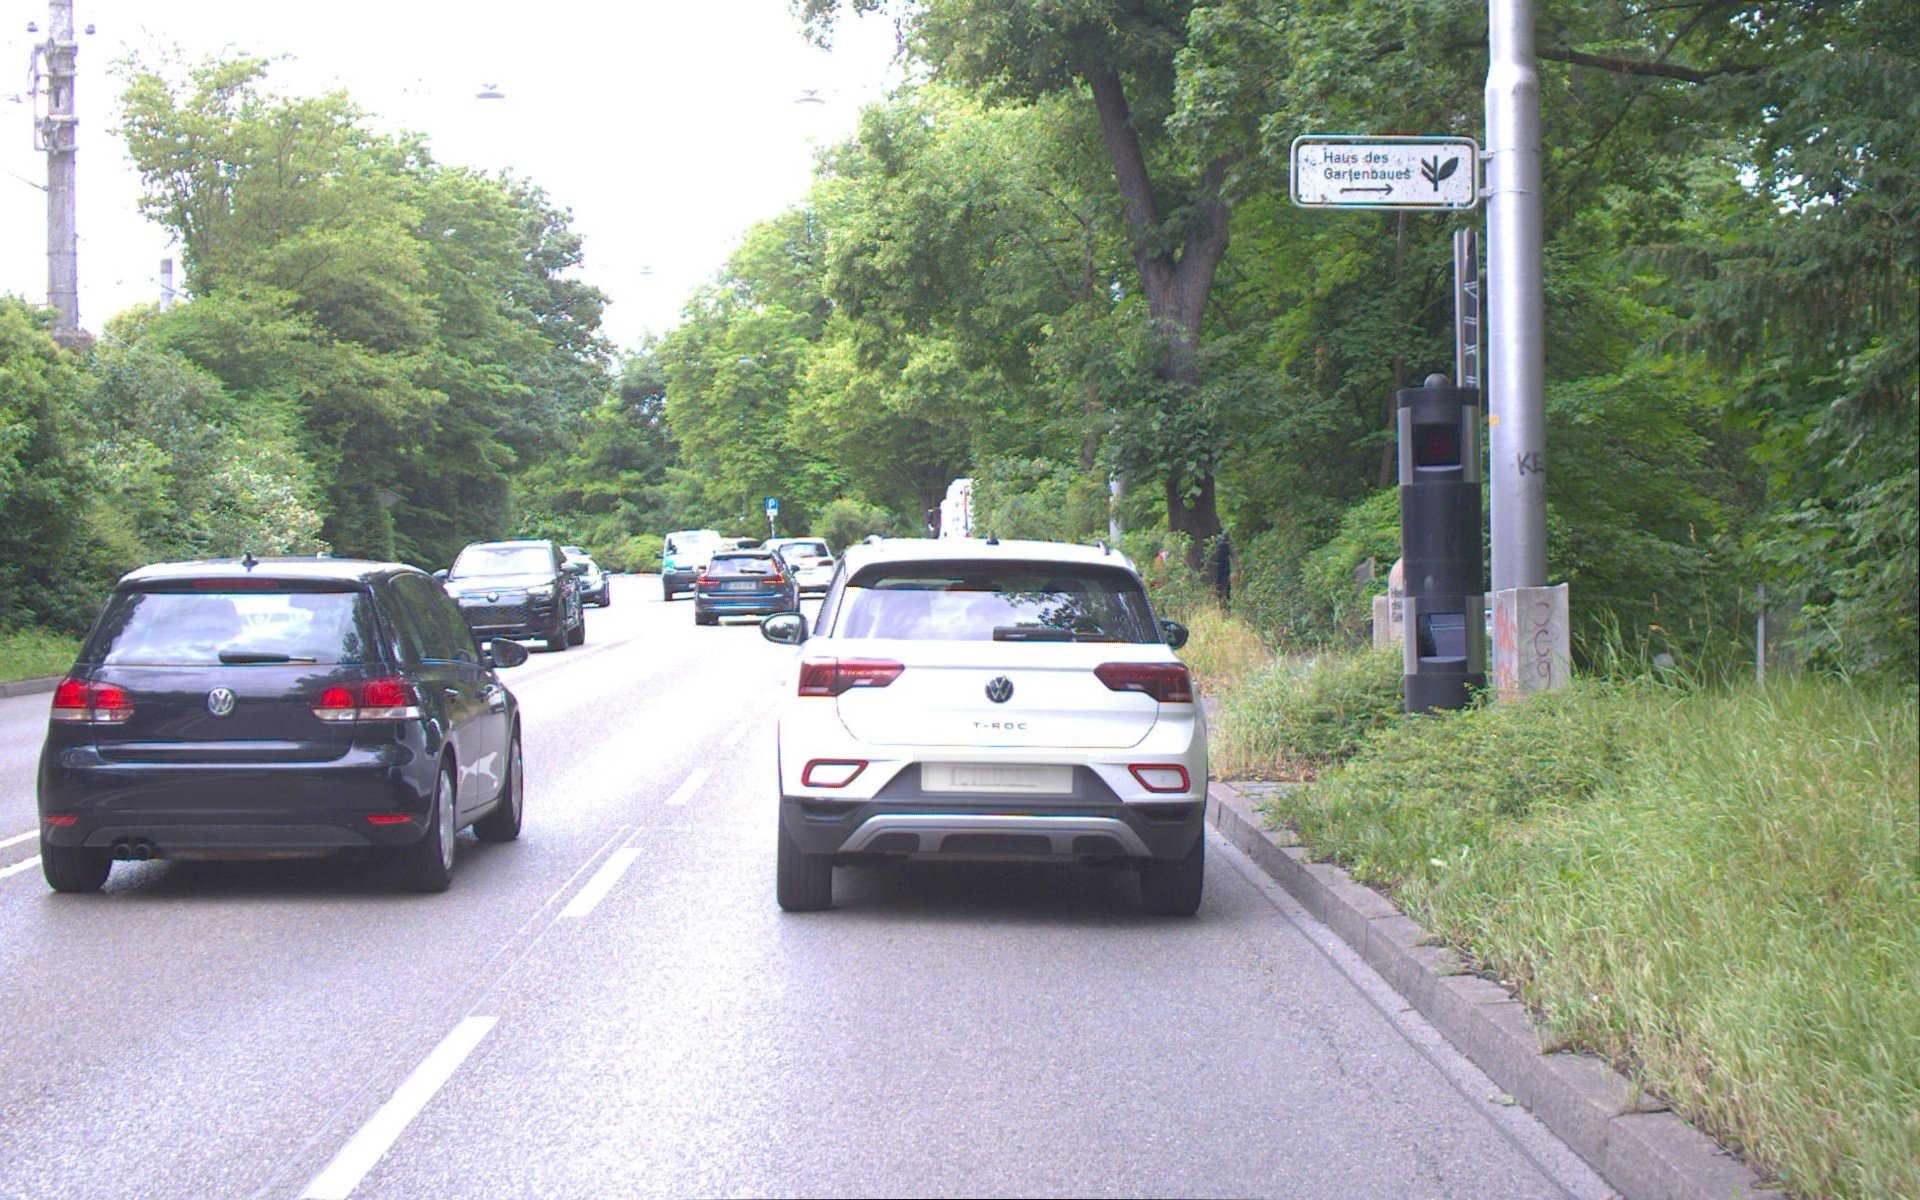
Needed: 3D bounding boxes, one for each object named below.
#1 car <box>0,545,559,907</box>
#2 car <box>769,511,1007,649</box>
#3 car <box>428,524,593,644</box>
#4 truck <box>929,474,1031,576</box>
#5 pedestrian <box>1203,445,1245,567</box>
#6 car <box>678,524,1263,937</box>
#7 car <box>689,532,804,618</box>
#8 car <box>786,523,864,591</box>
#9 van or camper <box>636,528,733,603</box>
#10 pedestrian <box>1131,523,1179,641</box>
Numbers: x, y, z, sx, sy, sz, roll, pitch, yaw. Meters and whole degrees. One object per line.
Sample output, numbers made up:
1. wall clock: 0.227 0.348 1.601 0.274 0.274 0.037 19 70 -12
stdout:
1. car: -3.073 0.492 16.146 1.949 1.461 4.000 1 1 -1
2. car: -1.028 -0.301 46.650 1.851 1.697 4.001 -4 2 -22
3. car: -6.630 -0.201 51.163 1.810 1.656 4.830 -1 -1 0
4. truck: 0.586 -2.395 111.179 2.481 3.171 7.230 1 1 -6
5. pedestrian: 3.833 -1.365 49.938 0.519 1.747 0.525 1 1 -4
6. car: -0.110 0.484 15.350 2.000 1.590 4.001 1 1 -9
7. car: -4.074 -0.493 66.175 1.993 1.586 4.000 1 1 -1
8. car: -3.355 -1.071 85.815 1.821 1.617 4.000 1 1 -1
9. van or camper: -8.043 -0.994 99.903 1.993 2.007 5.370 -4 1 -12
10. pedestrian: 2.812 -0.259 49.693 0.608 1.692 0.549 1 1 -4
